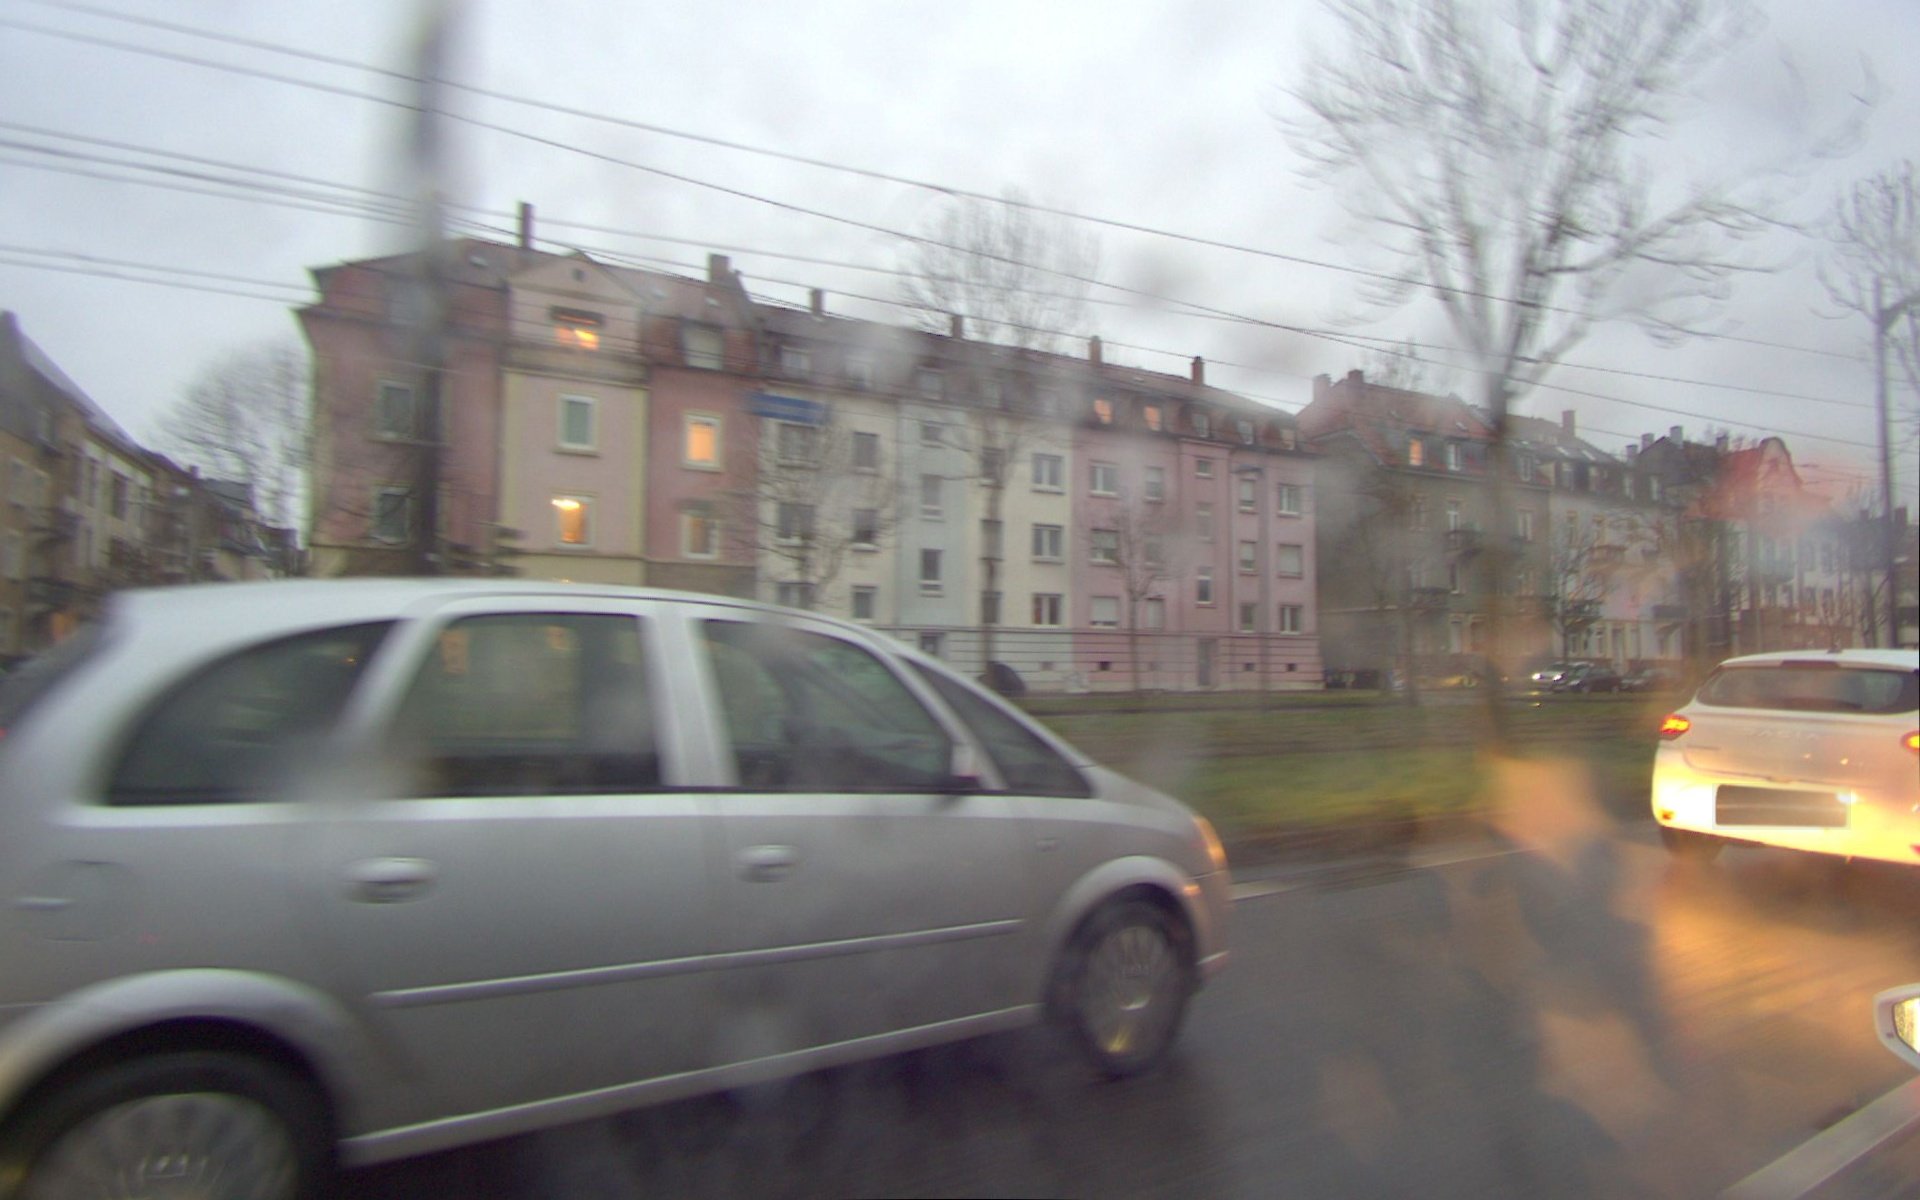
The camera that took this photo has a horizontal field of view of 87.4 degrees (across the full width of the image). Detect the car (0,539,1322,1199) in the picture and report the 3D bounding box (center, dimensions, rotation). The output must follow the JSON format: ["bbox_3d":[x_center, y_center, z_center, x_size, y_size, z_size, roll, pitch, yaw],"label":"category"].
[{"bbox_3d":[-0.802,0.795,3.523,4.007,1.621,1.800,3,-3,-31],"label":"car"}]

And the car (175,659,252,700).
[{"bbox_3d":[-28.644,3.022,38.647,1.978,1.438,3.967,3,-4,-31],"label":"car"}]

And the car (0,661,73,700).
[{"bbox_3d":[-37.045,3.165,39.861,1.772,1.505,3.974,2,-4,-27],"label":"car"}]

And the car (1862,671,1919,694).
[{"bbox_3d":[59.521,5.205,63.649,1.745,1.371,3.560,-1,-4,7],"label":"car"}]

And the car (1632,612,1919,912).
[{"bbox_3d":[6.673,0.980,6.983,4.003,1.621,1.665,3,-3,-28],"label":"car"}]

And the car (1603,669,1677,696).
[{"bbox_3d":[35.790,4.318,52.877,3.512,1.371,1.770,2,-4,-28],"label":"car"}]

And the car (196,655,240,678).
[{"bbox_3d":[-51.030,4.579,69.147,1.772,1.505,3.974,2,-4,-27],"label":"car"}]

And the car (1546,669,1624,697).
[{"bbox_3d":[31.496,4.153,50.610,3.512,1.371,1.770,2,-4,-28],"label":"car"}]

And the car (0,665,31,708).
[{"bbox_3d":[-34.714,3.057,35.406,1.772,1.505,3.974,2,-4,-27],"label":"car"}]

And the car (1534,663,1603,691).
[{"bbox_3d":[34.317,4.346,56.659,3.512,1.519,1.770,2,-4,-28],"label":"car"}]
